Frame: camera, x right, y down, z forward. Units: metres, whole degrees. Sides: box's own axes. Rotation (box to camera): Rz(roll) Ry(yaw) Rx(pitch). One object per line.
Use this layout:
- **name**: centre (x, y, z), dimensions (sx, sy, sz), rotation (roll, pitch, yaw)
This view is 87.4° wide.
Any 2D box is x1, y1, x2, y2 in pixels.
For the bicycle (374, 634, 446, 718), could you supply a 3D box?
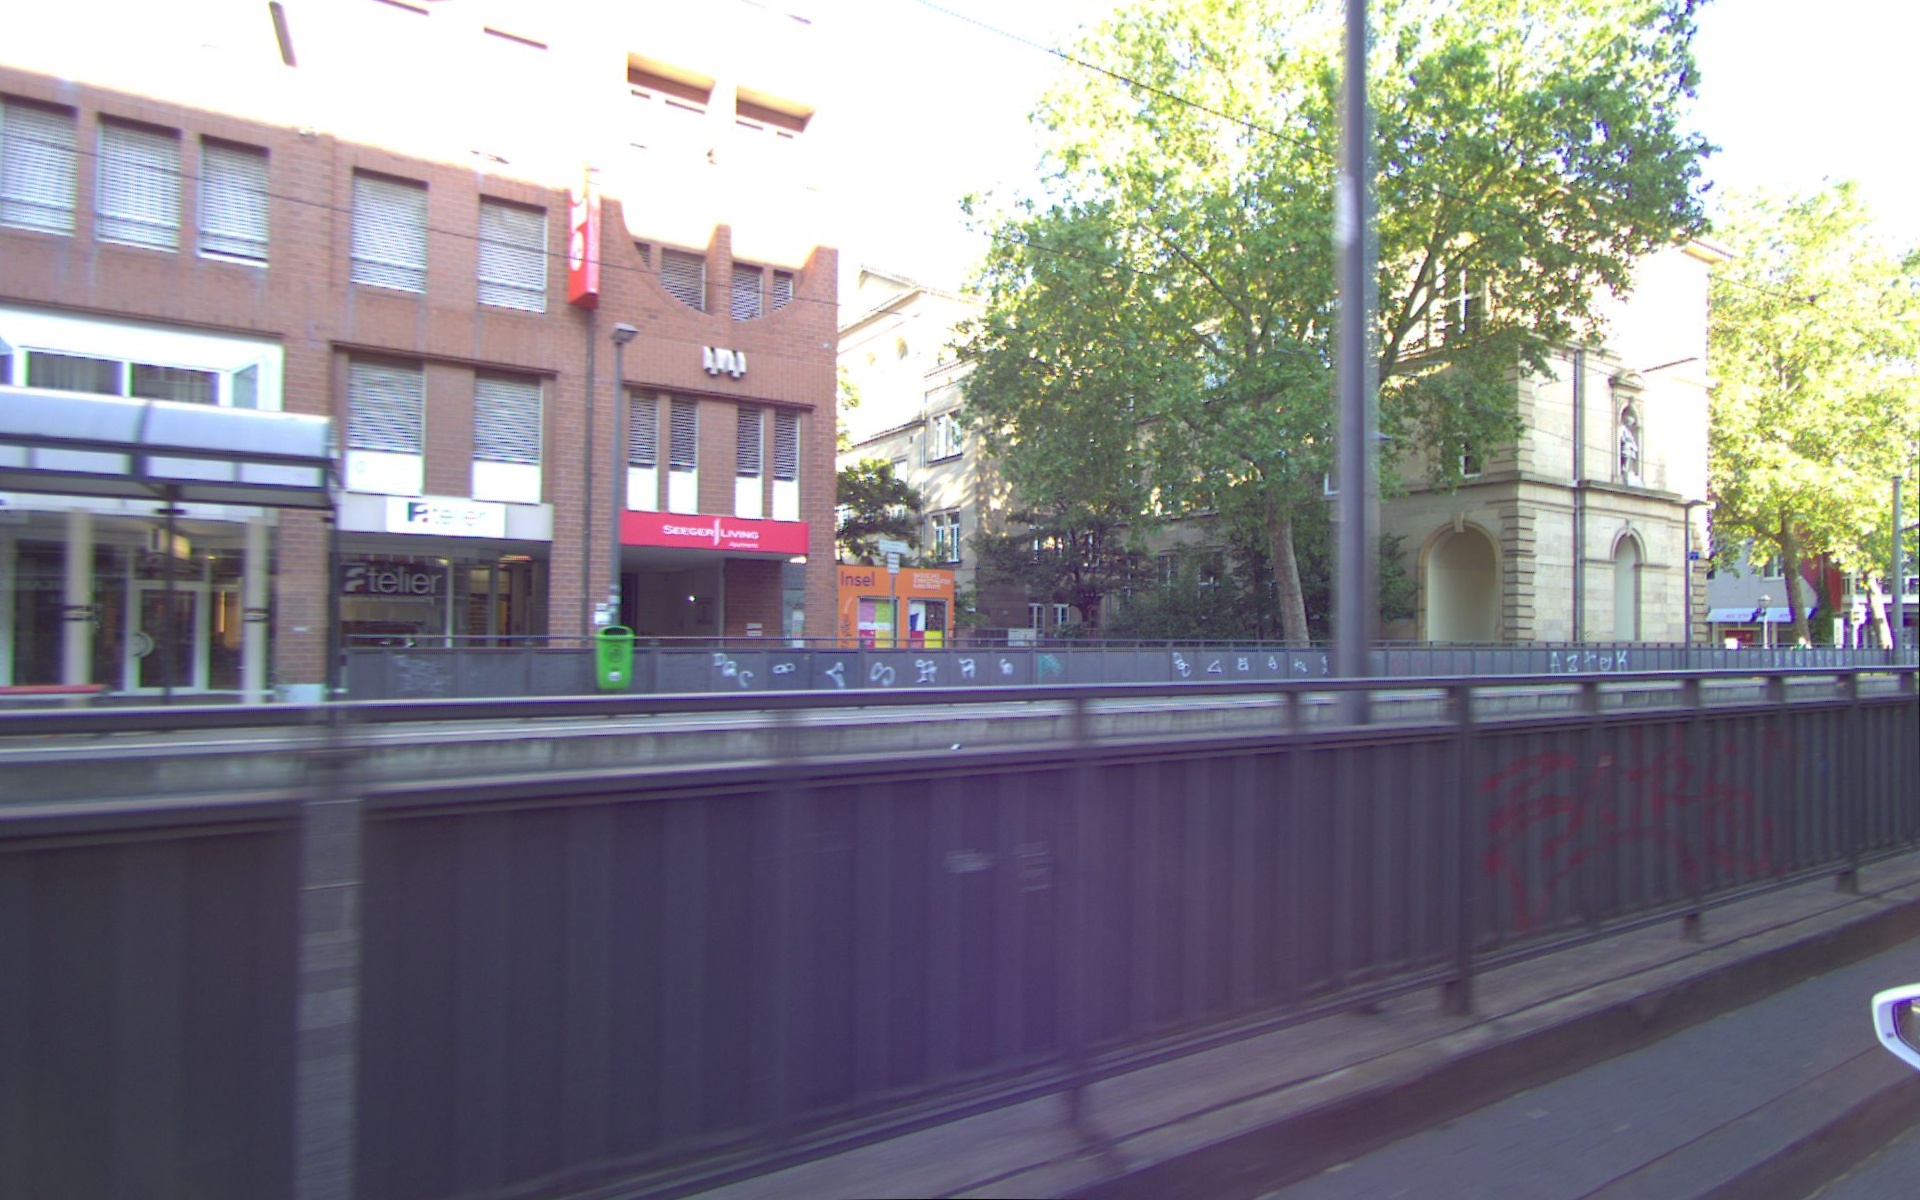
- **bicycle**: centre (-10.106, 1.356, 18.538), dimensions (0.828, 1.299, 2.603), rotation (2, 1, -22)

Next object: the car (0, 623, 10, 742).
- **car**: centre (-14.410, 0.967, 11.826), dimensions (4.241, 1.614, 1.901), rotation (4, -4, -30)
